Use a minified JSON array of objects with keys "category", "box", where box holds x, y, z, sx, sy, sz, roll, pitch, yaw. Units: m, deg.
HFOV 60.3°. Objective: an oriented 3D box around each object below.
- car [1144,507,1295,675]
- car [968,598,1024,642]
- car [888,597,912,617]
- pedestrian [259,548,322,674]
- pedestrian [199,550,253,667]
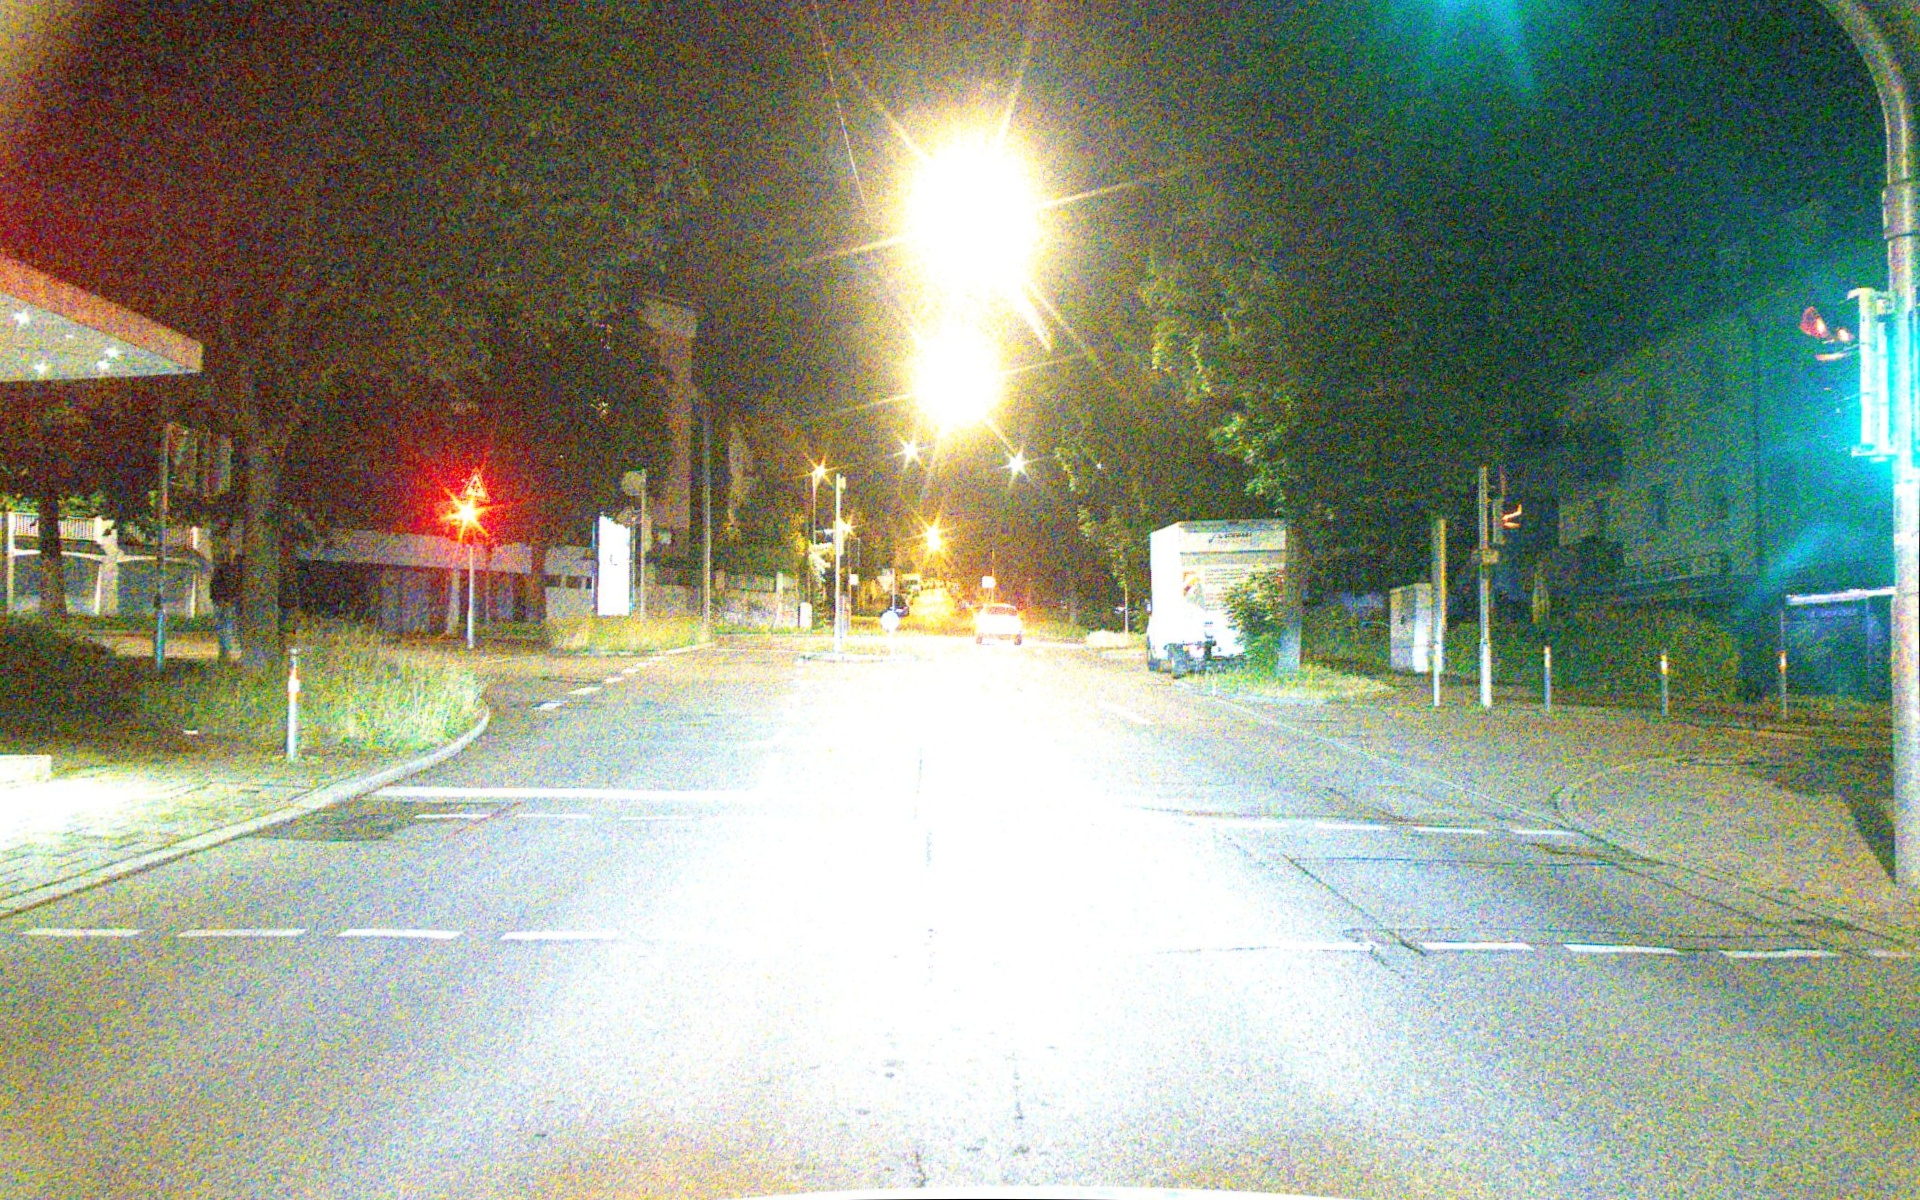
[{"category":"car","box":[5.247,-0.167,34.295,2.249,3.147,5.840,-1,0,1]},{"category":"car","box":[1.269,0.708,60.488,1.740,1.512,3.997,1,0,-3]},{"category":"car","box":[-4.847,0.541,134.300,1.869,1.585,3.903,1,0,-1]},{"category":"pedestrian","box":[-9.940,0.161,24.558,0.558,1.808,0.737,3,-1,-1]},{"category":"pedestrian","box":[-11.228,0.125,25.318,0.558,1.761,0.543,1,-1,-1]}]
